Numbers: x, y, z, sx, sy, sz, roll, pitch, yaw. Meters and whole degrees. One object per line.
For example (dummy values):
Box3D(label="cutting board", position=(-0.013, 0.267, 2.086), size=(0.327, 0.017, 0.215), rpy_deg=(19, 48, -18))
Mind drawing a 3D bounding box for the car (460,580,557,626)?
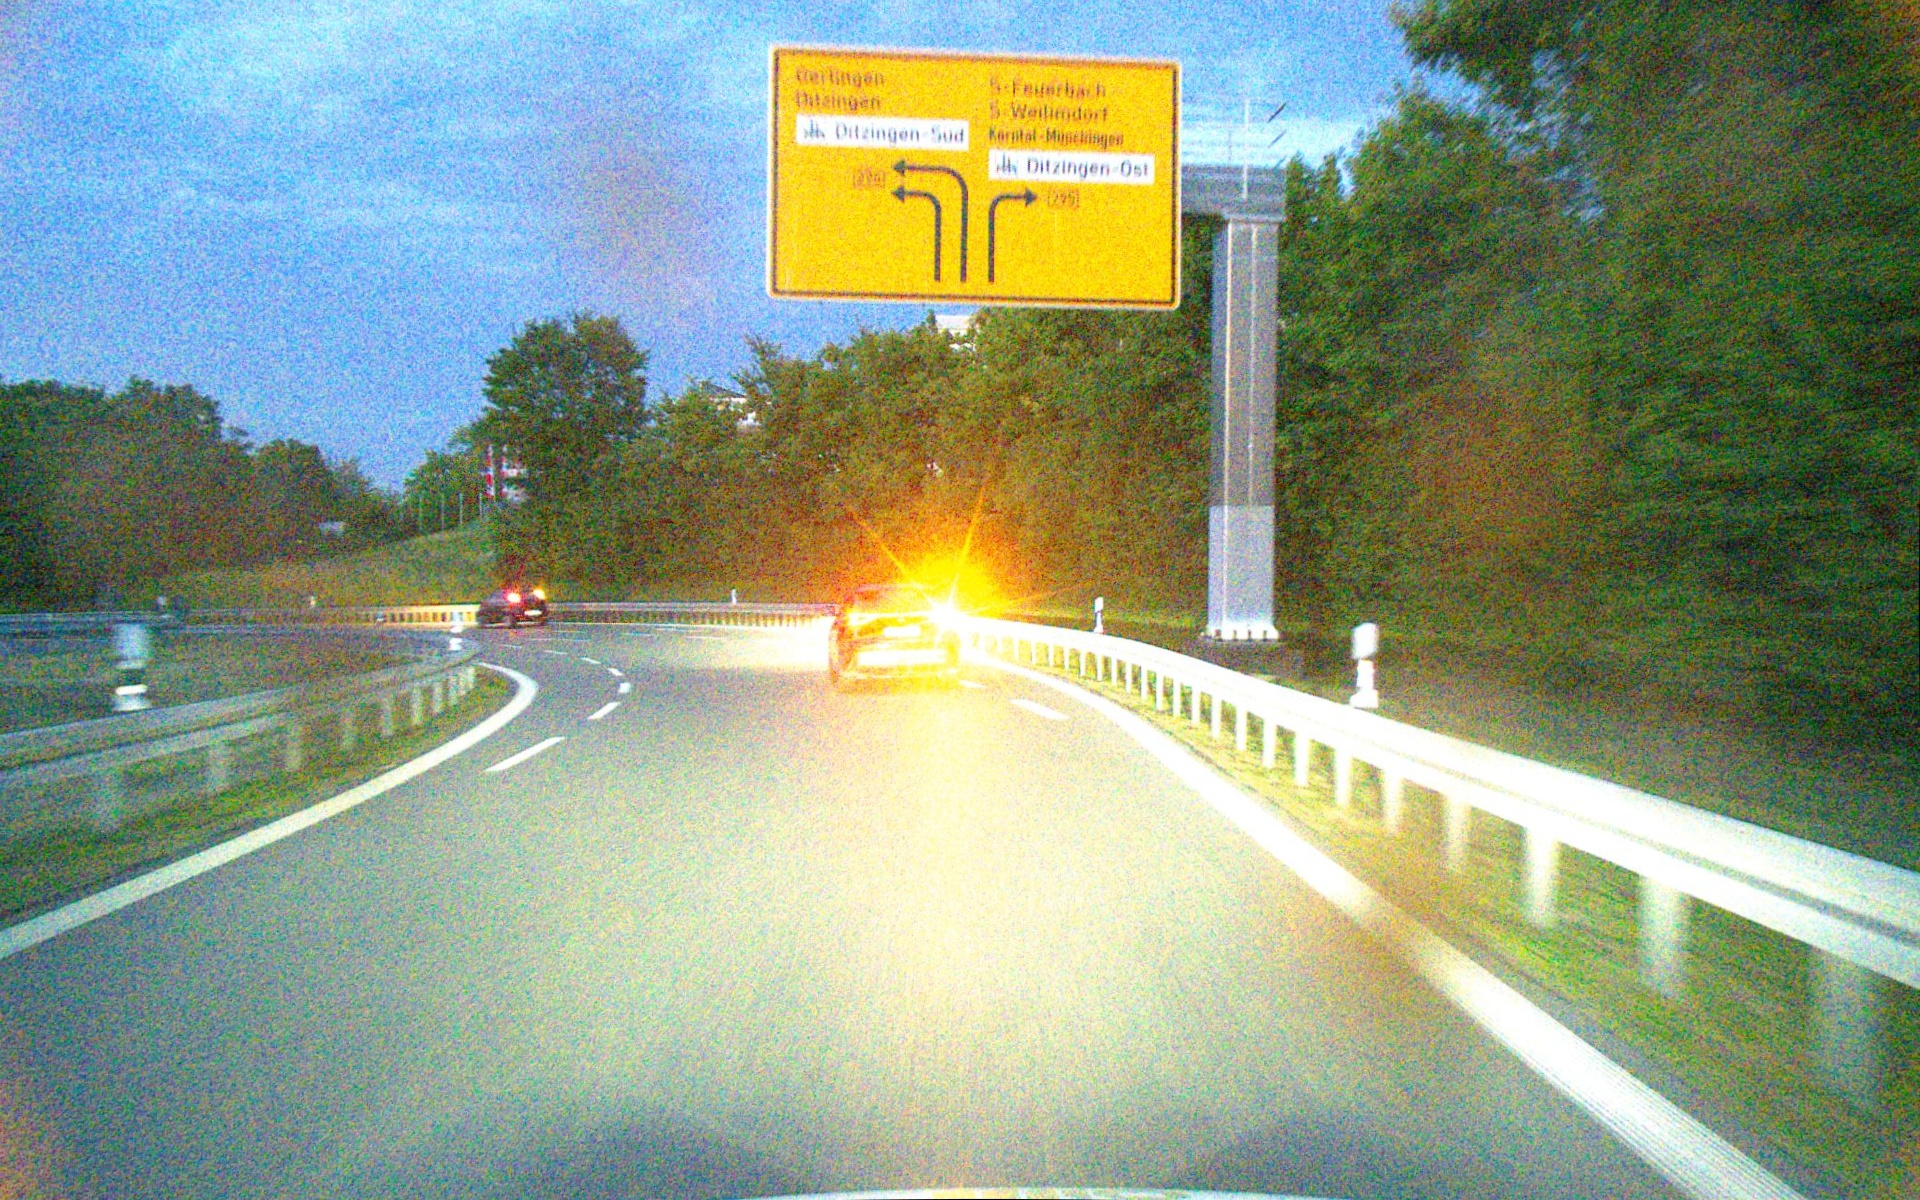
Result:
Box3D(label="car", position=(-17.849, 0.107, 65.252), size=(3.934, 1.626, 1.986), rpy_deg=(3, 0, 45))

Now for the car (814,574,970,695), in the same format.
Box3D(label="car", position=(-1.153, 0.469, 25.833), size=(1.957, 1.688, 4.306), rpy_deg=(-1, 1, -9))
